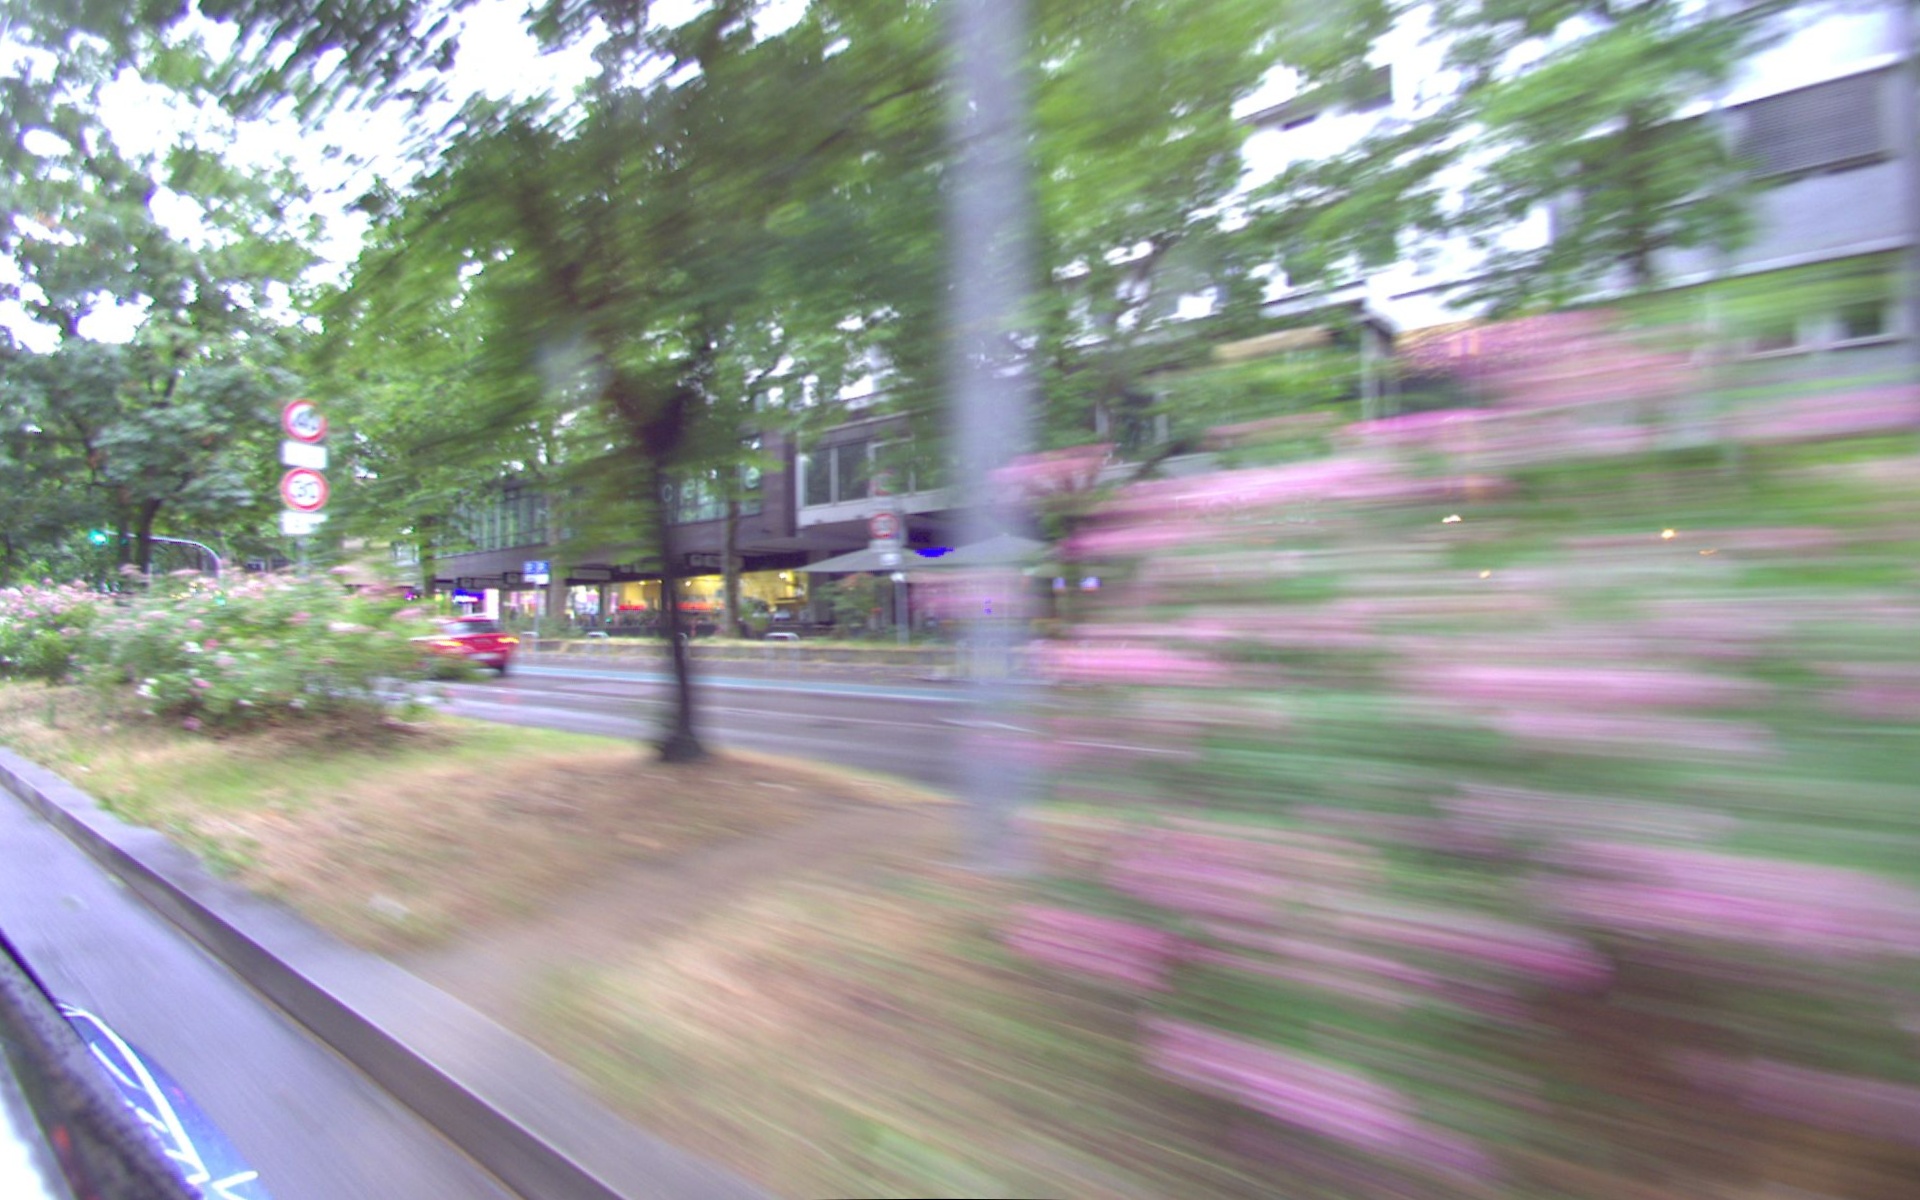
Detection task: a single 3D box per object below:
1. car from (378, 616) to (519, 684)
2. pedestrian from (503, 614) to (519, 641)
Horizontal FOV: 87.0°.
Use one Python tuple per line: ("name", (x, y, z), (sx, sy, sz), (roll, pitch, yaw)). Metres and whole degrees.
("car", (-12.257, 1.149, 24.141), (4.032, 1.476, 1.621), (-2, -1, 41))
("pedestrian", (-24.858, 1.513, 56.029), (0.559, 1.476, 0.561), (-2, -1, 36))
